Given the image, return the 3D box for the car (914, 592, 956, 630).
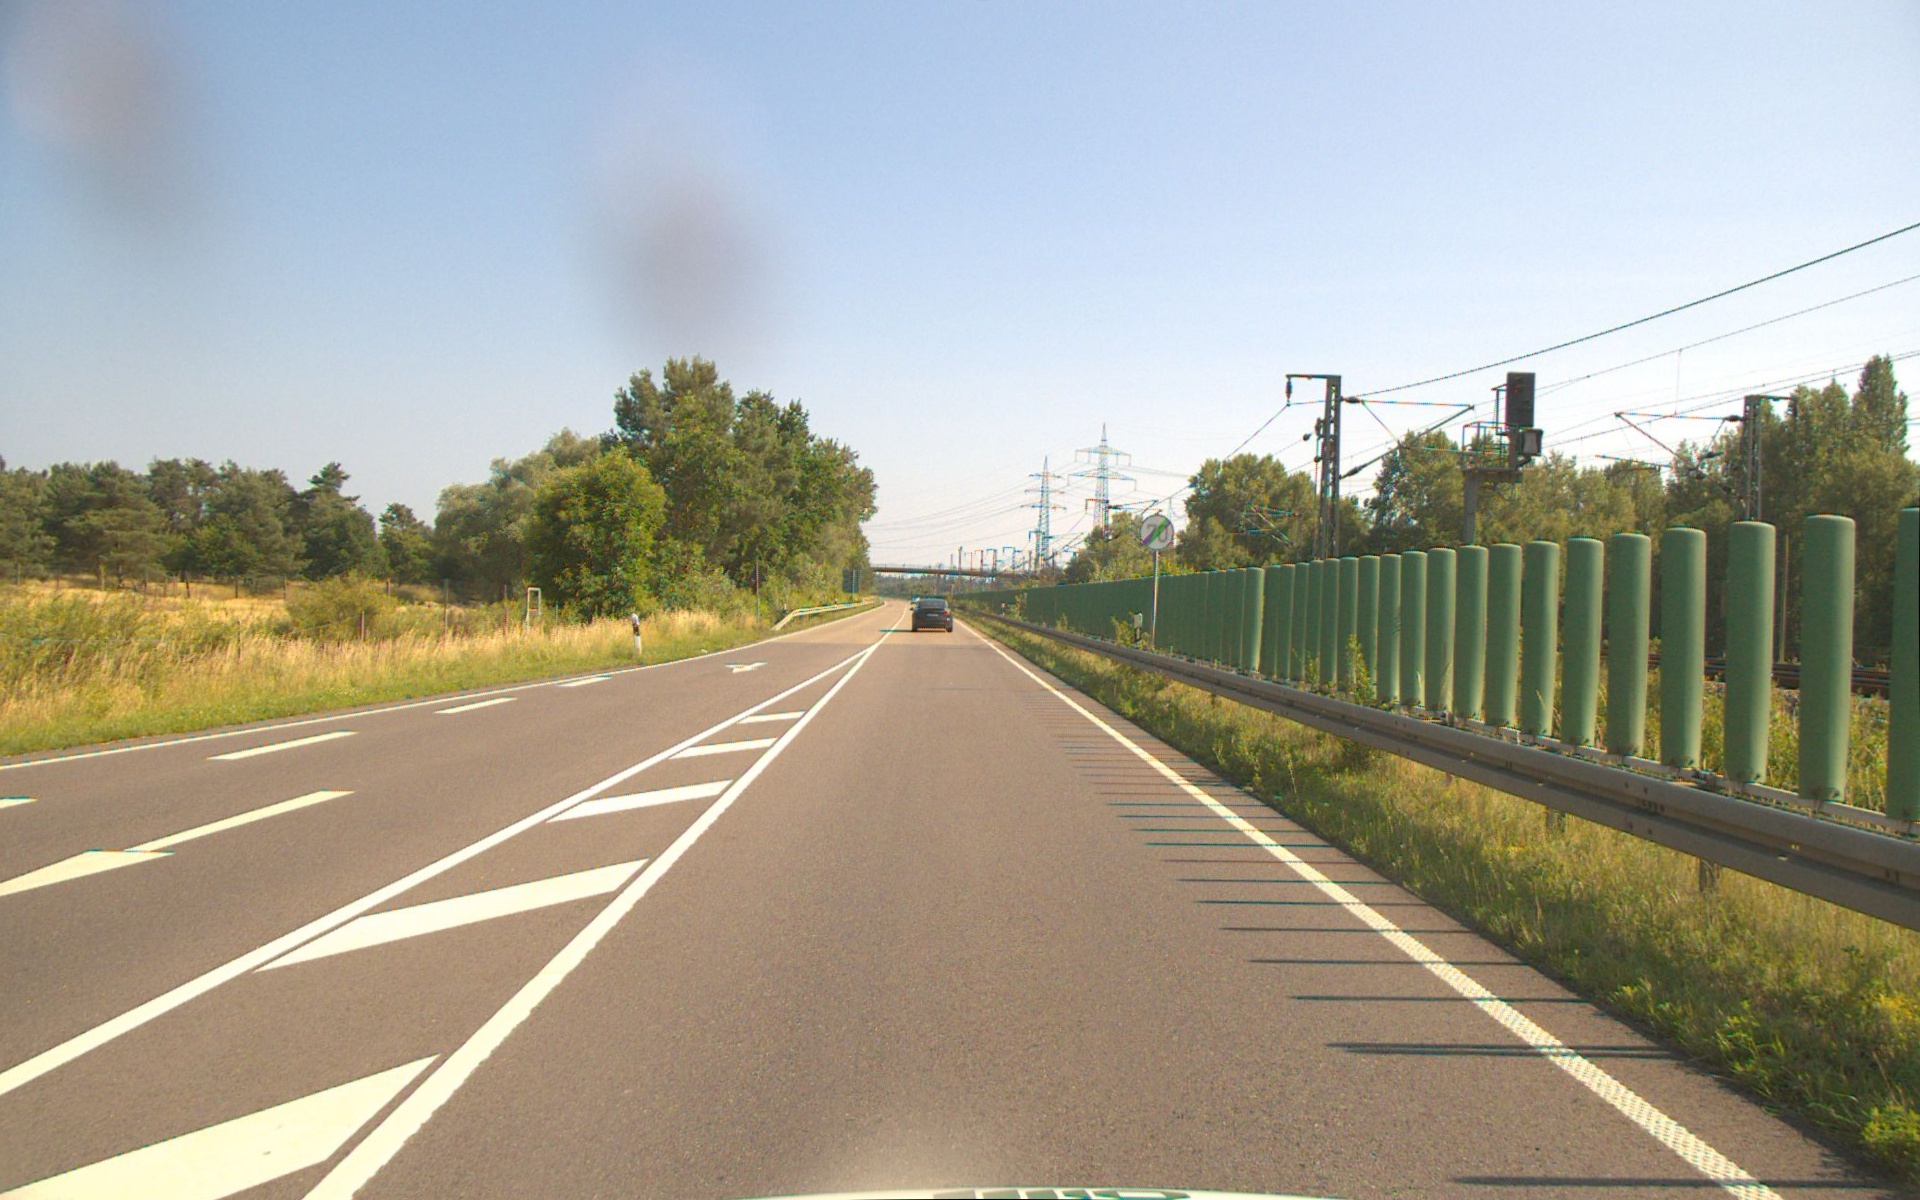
[{"bbox_3d":[-1.136,0.472,73.689,1.821,1.670,3.999,0,0,-1],"label":"car"}]
